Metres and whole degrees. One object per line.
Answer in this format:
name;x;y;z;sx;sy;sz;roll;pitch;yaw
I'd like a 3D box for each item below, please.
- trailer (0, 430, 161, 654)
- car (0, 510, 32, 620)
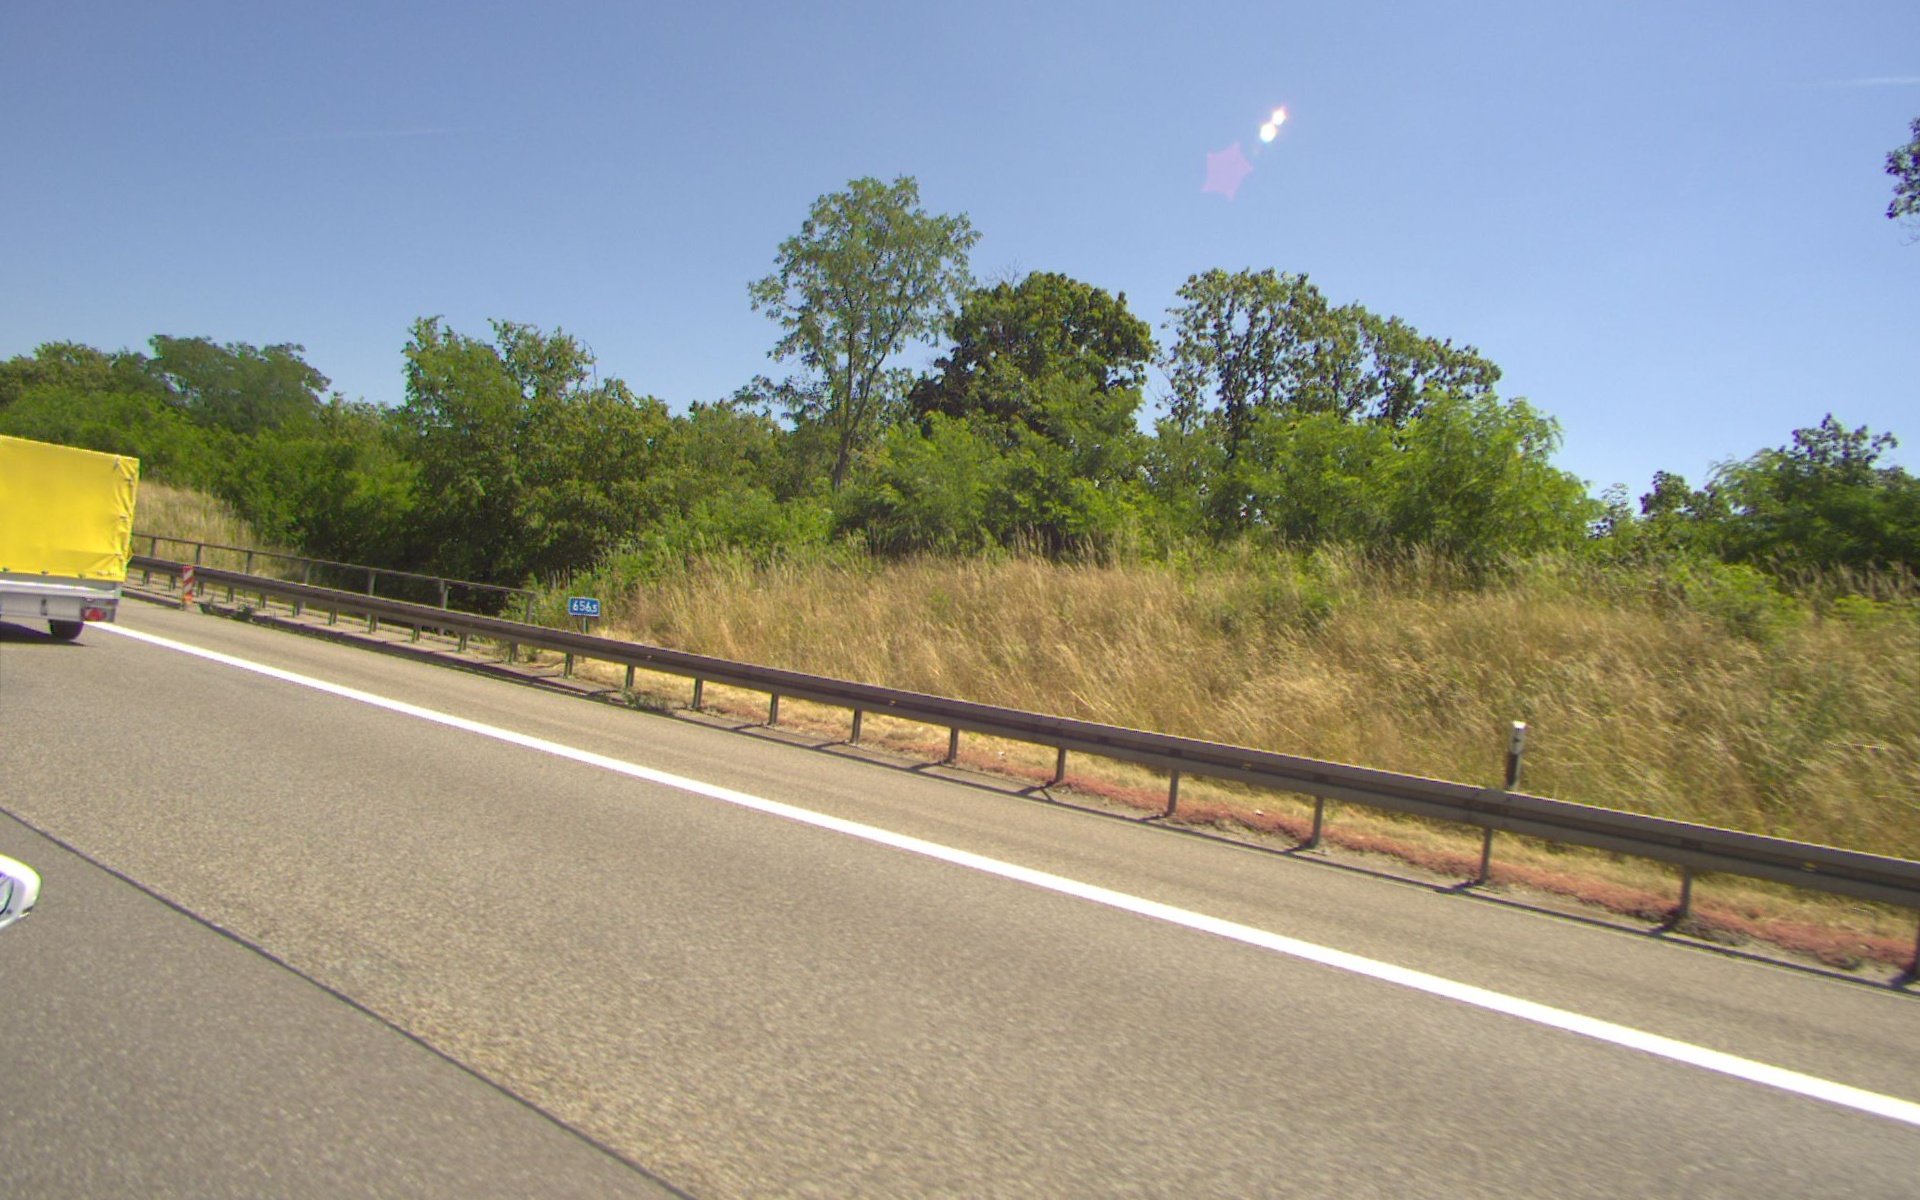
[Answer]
trailer;-11.673;-0.769;12.167;3.775;2.316;1.707;6;-2;30
car;-15.391;-0.766;14.316;4.708;1.472;1.825;6;-2;30
